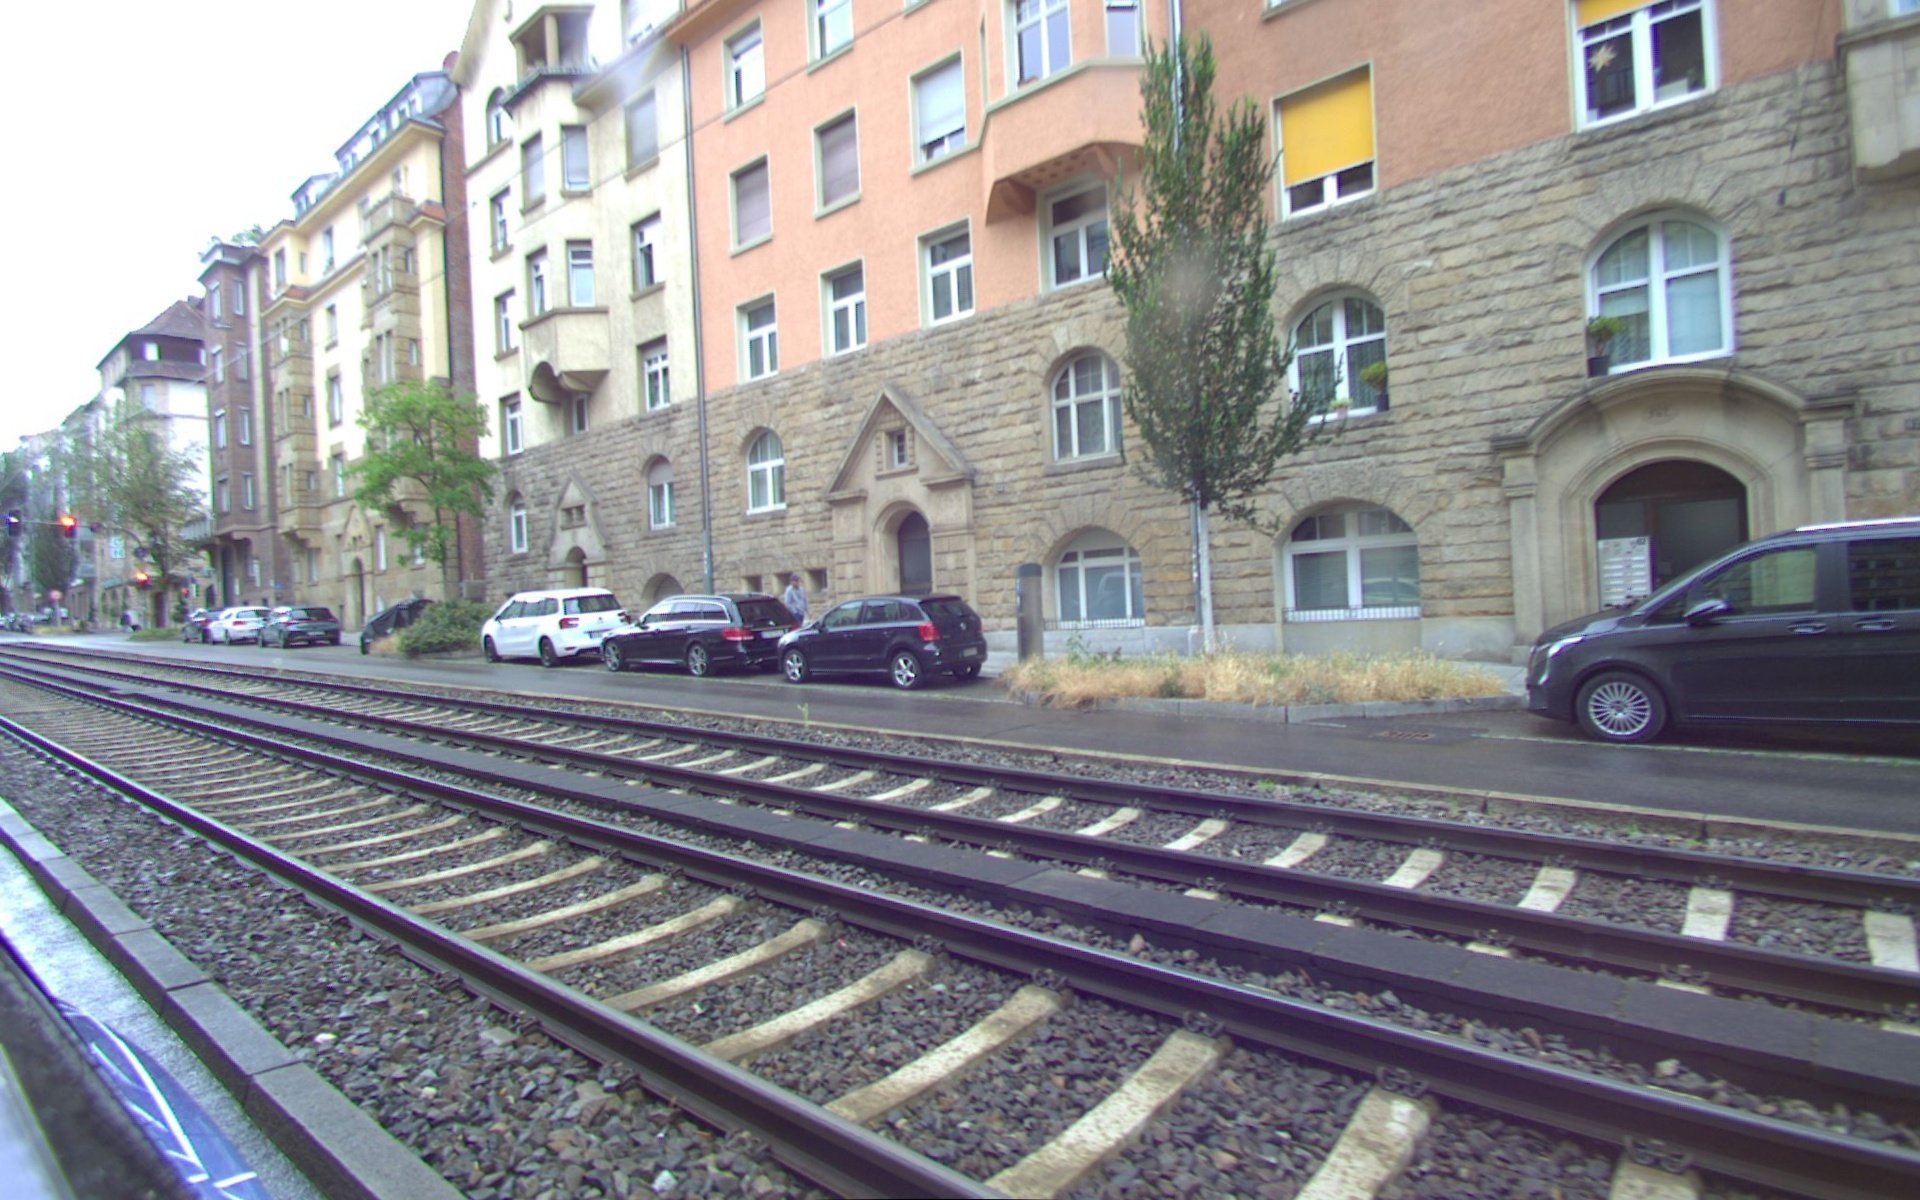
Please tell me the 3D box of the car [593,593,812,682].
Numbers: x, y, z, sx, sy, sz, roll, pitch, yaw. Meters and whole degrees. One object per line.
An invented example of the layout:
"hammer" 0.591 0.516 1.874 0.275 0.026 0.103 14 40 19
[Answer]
"car" -5.084 0.682 19.629 4.599 1.506 1.824 -1 0 41

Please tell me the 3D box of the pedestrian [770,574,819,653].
"pedestrian" -3.542 0.286 21.694 0.765 1.654 0.692 -1 0 41

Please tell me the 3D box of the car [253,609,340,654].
"car" -23.330 1.074 35.551 3.845 1.452 1.656 -1 1 43

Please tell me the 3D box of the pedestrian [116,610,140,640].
"pedestrian" -55.107 1.646 67.024 1.163 1.972 1.042 -1 0 43

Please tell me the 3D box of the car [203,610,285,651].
"car" -27.931 1.188 39.455 4.030 1.452 1.748 -1 1 42

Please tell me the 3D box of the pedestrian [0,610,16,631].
"pedestrian" -94.820 2.021 100.565 1.379 1.972 1.362 -1 0 43

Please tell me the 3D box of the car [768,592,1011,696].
"car" -1.203 0.656 16.607 3.638 1.508 1.912 -1 0 38

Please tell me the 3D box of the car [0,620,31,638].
"car" -73.935 2.239 79.032 3.843 1.321 1.563 -1 0 41

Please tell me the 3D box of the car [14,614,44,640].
"car" -68.687 1.952 74.667 1.561 1.691 3.794 -2 2 -43

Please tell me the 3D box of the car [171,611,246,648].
"car" -31.790 1.240 42.777 3.843 1.452 1.748 -1 0 41

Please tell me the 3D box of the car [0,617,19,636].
"car" -80.562 2.244 85.106 3.843 1.527 1.748 -1 0 41

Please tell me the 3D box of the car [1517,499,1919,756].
"car" 7.699 0.206 8.672 4.823 1.956 1.973 -1 0 41

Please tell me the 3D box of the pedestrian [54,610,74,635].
"pedestrian" -74.012 1.861 83.578 1.163 1.972 1.042 -1 0 43

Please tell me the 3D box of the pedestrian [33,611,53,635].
"pedestrian" -74.852 1.872 82.594 1.163 1.972 1.042 -1 0 43

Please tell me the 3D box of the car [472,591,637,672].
"car" -9.392 0.686 23.302 4.144 1.668 1.843 -1 0 41
